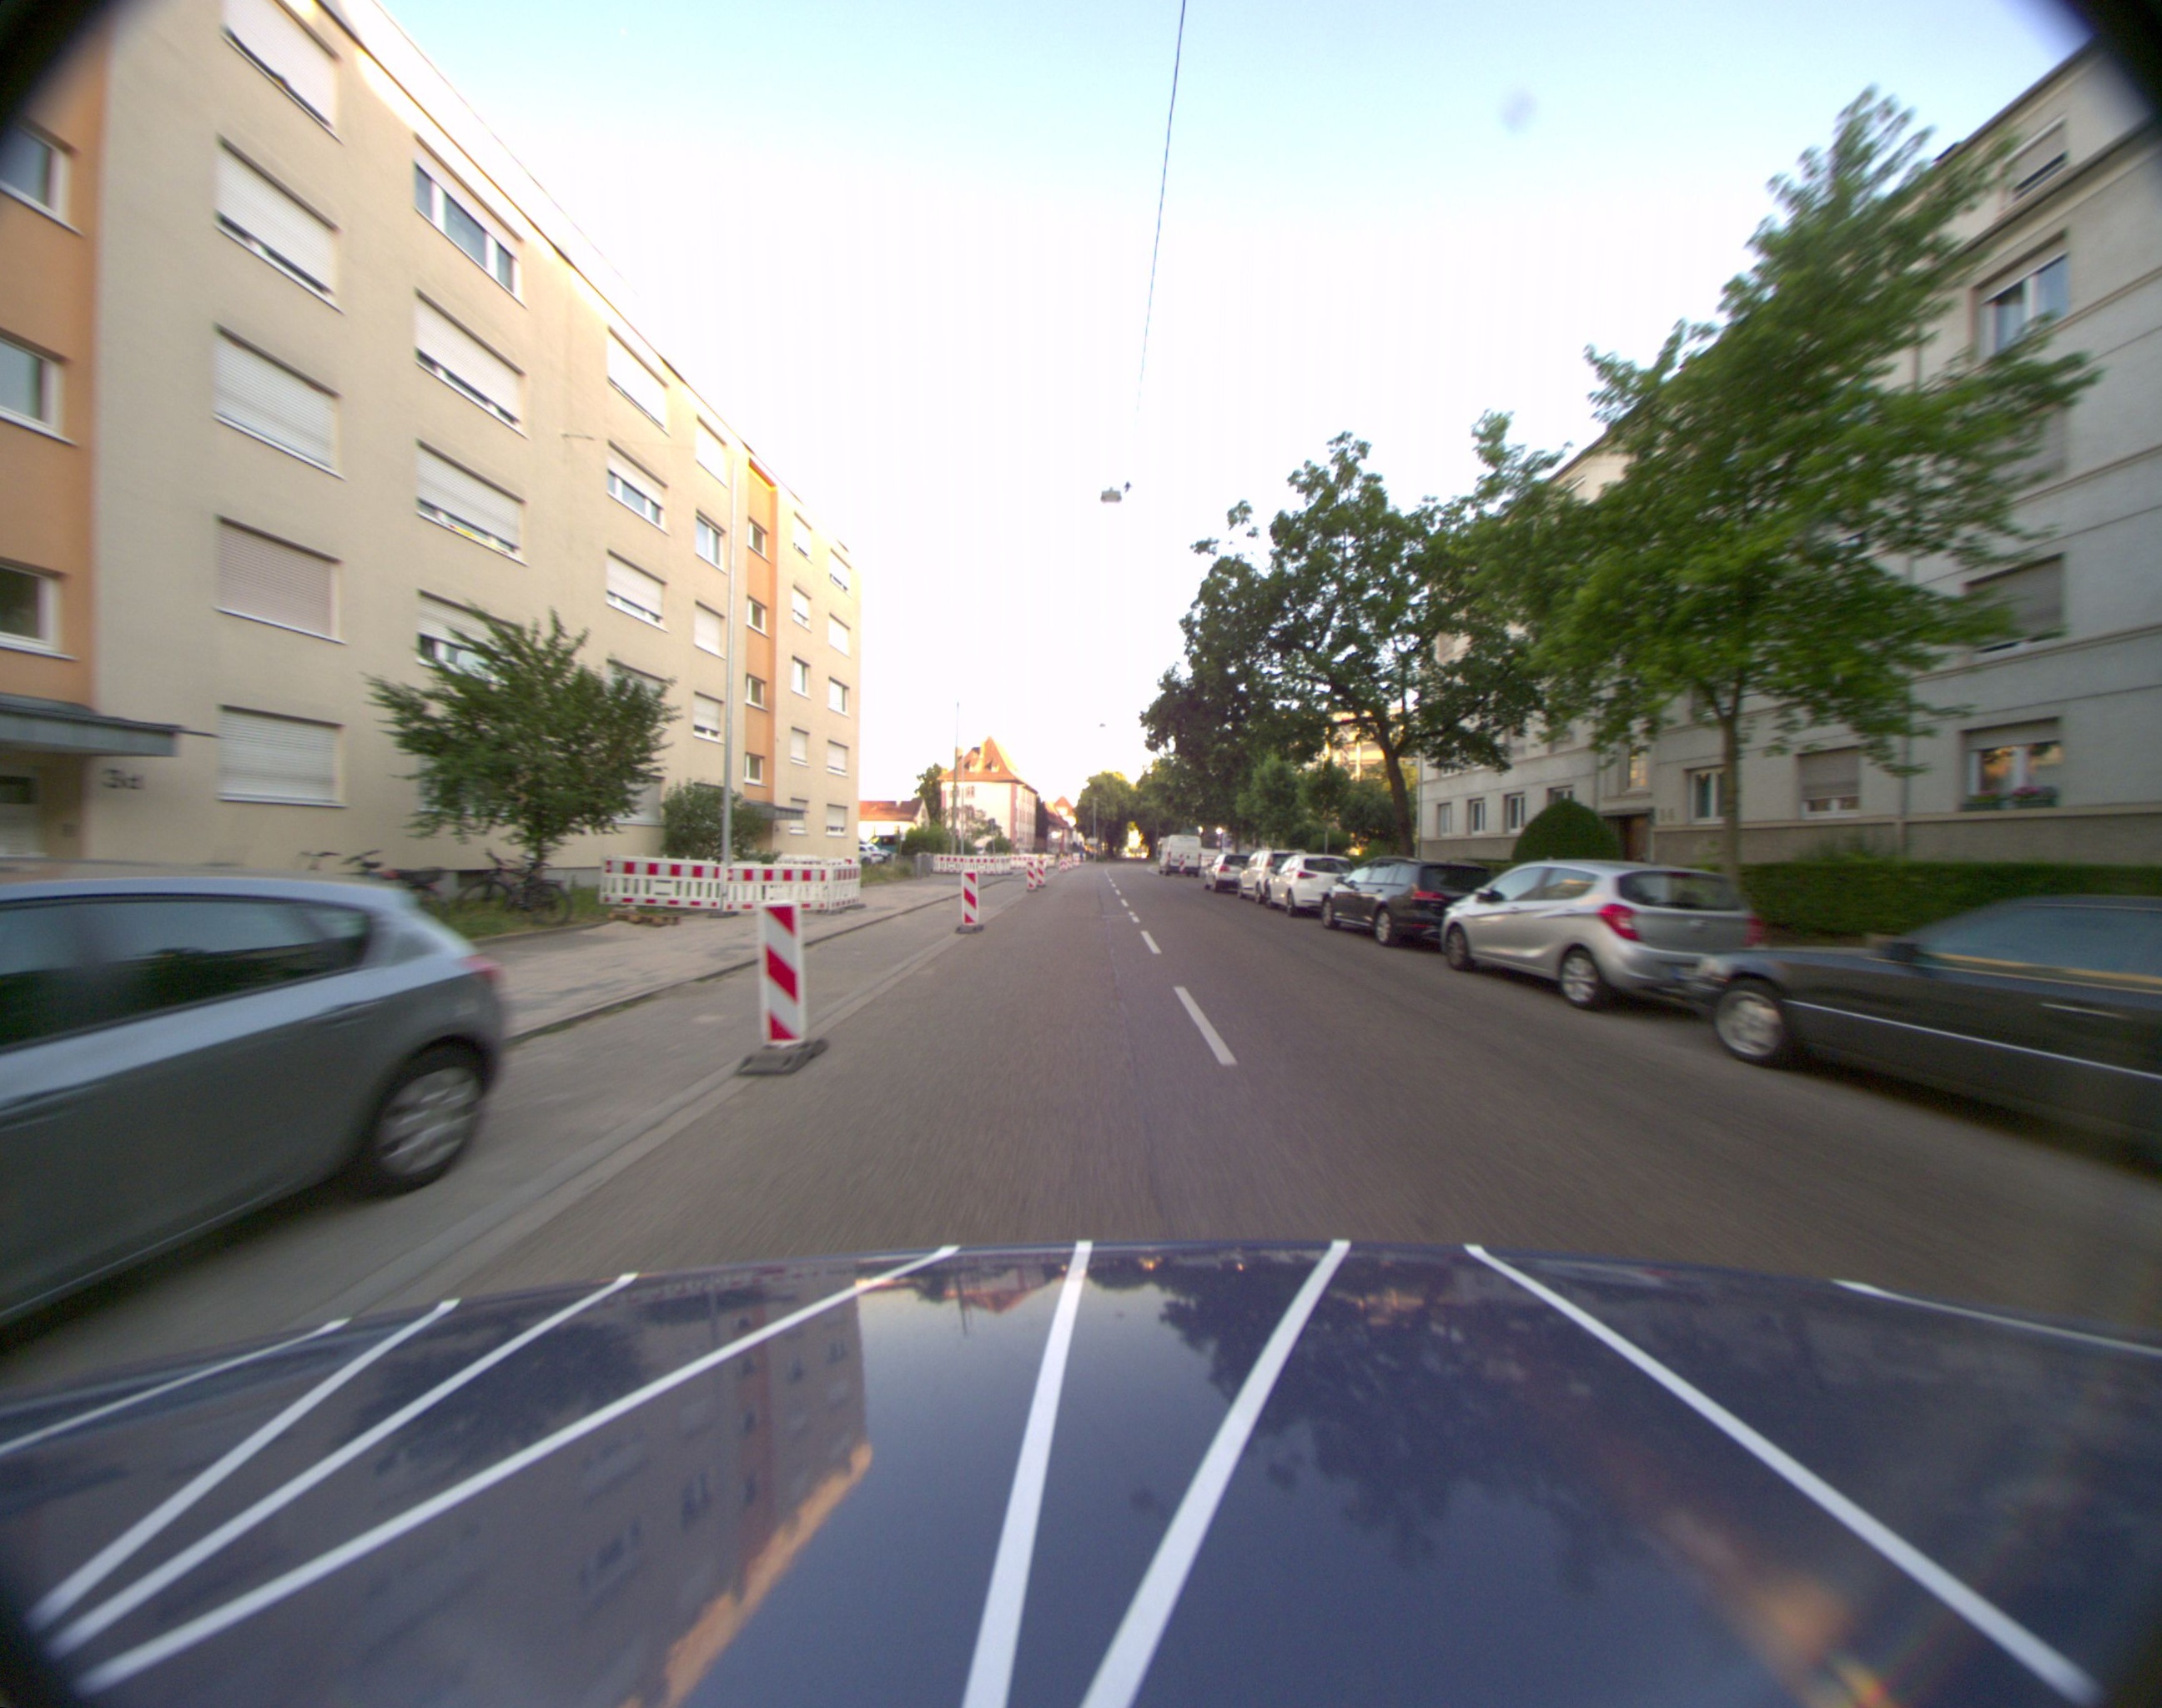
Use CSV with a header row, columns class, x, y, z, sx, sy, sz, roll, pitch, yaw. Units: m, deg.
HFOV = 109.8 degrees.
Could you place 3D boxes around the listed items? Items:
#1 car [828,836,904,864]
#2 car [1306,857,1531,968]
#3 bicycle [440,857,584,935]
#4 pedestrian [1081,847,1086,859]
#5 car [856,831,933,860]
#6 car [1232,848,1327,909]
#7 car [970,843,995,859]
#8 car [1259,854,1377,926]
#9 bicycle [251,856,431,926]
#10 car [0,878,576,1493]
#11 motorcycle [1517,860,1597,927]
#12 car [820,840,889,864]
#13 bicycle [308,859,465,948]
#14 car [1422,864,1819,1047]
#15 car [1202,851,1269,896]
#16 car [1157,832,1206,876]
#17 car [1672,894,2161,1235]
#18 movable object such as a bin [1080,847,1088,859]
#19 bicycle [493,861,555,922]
class,x,y,z,sx,sy,sz,roll,pitch,yaw
car,-14.466,-0.268,51.209,4.489,1.800,2.005,1,1,3
car,5.620,0.864,13.426,1.757,1.471,4.677,3,1,-1
bicycle,-8.914,0.651,11.935,1.815,1.017,0.558,5,2,2
pedestrian,0.366,-0.115,104.332,0.716,1.600,0.518,0,1,-4
car,-13.718,-0.646,56.164,5.030,2.117,2.291,0,1,8
car,6.004,0.680,23.488,1.757,1.622,4.106,3,1,-1
car,-10.332,-0.358,80.160,1.919,1.620,4.808,0,1,2
car,5.728,0.810,18.874,1.756,1.471,3.944,3,1,2
bicycle,-10.790,0.558,11.173,1.821,0.916,0.556,4,2,-40
car,-3.809,0.954,1.955,1.780,1.482,4.573,4,1,2
motorcycle,10.220,0.817,16.403,0.588,1.317,1.828,0,1,1
car,-14.441,-0.124,48.552,3.839,1.444,1.695,1,1,3
bicycle,-9.311,0.641,10.204,1.755,0.981,0.558,5,2,10
car,5.595,0.922,8.555,1.679,1.451,3.704,3,1,-2
car,5.768,0.685,28.848,1.756,1.463,4.224,3,1,2
car,6.289,-0.025,48.265,2.184,2.447,6.102,3,1,1
car,5.588,1.043,3.763,1.678,1.324,4.579,3,1,0
movable object such as a bin,0.382,-0.115,104.347,0.977,1.600,0.634,0,1,-4
bicycle,-9.667,0.629,13.232,0.559,0.860,1.610,4,2,-27
